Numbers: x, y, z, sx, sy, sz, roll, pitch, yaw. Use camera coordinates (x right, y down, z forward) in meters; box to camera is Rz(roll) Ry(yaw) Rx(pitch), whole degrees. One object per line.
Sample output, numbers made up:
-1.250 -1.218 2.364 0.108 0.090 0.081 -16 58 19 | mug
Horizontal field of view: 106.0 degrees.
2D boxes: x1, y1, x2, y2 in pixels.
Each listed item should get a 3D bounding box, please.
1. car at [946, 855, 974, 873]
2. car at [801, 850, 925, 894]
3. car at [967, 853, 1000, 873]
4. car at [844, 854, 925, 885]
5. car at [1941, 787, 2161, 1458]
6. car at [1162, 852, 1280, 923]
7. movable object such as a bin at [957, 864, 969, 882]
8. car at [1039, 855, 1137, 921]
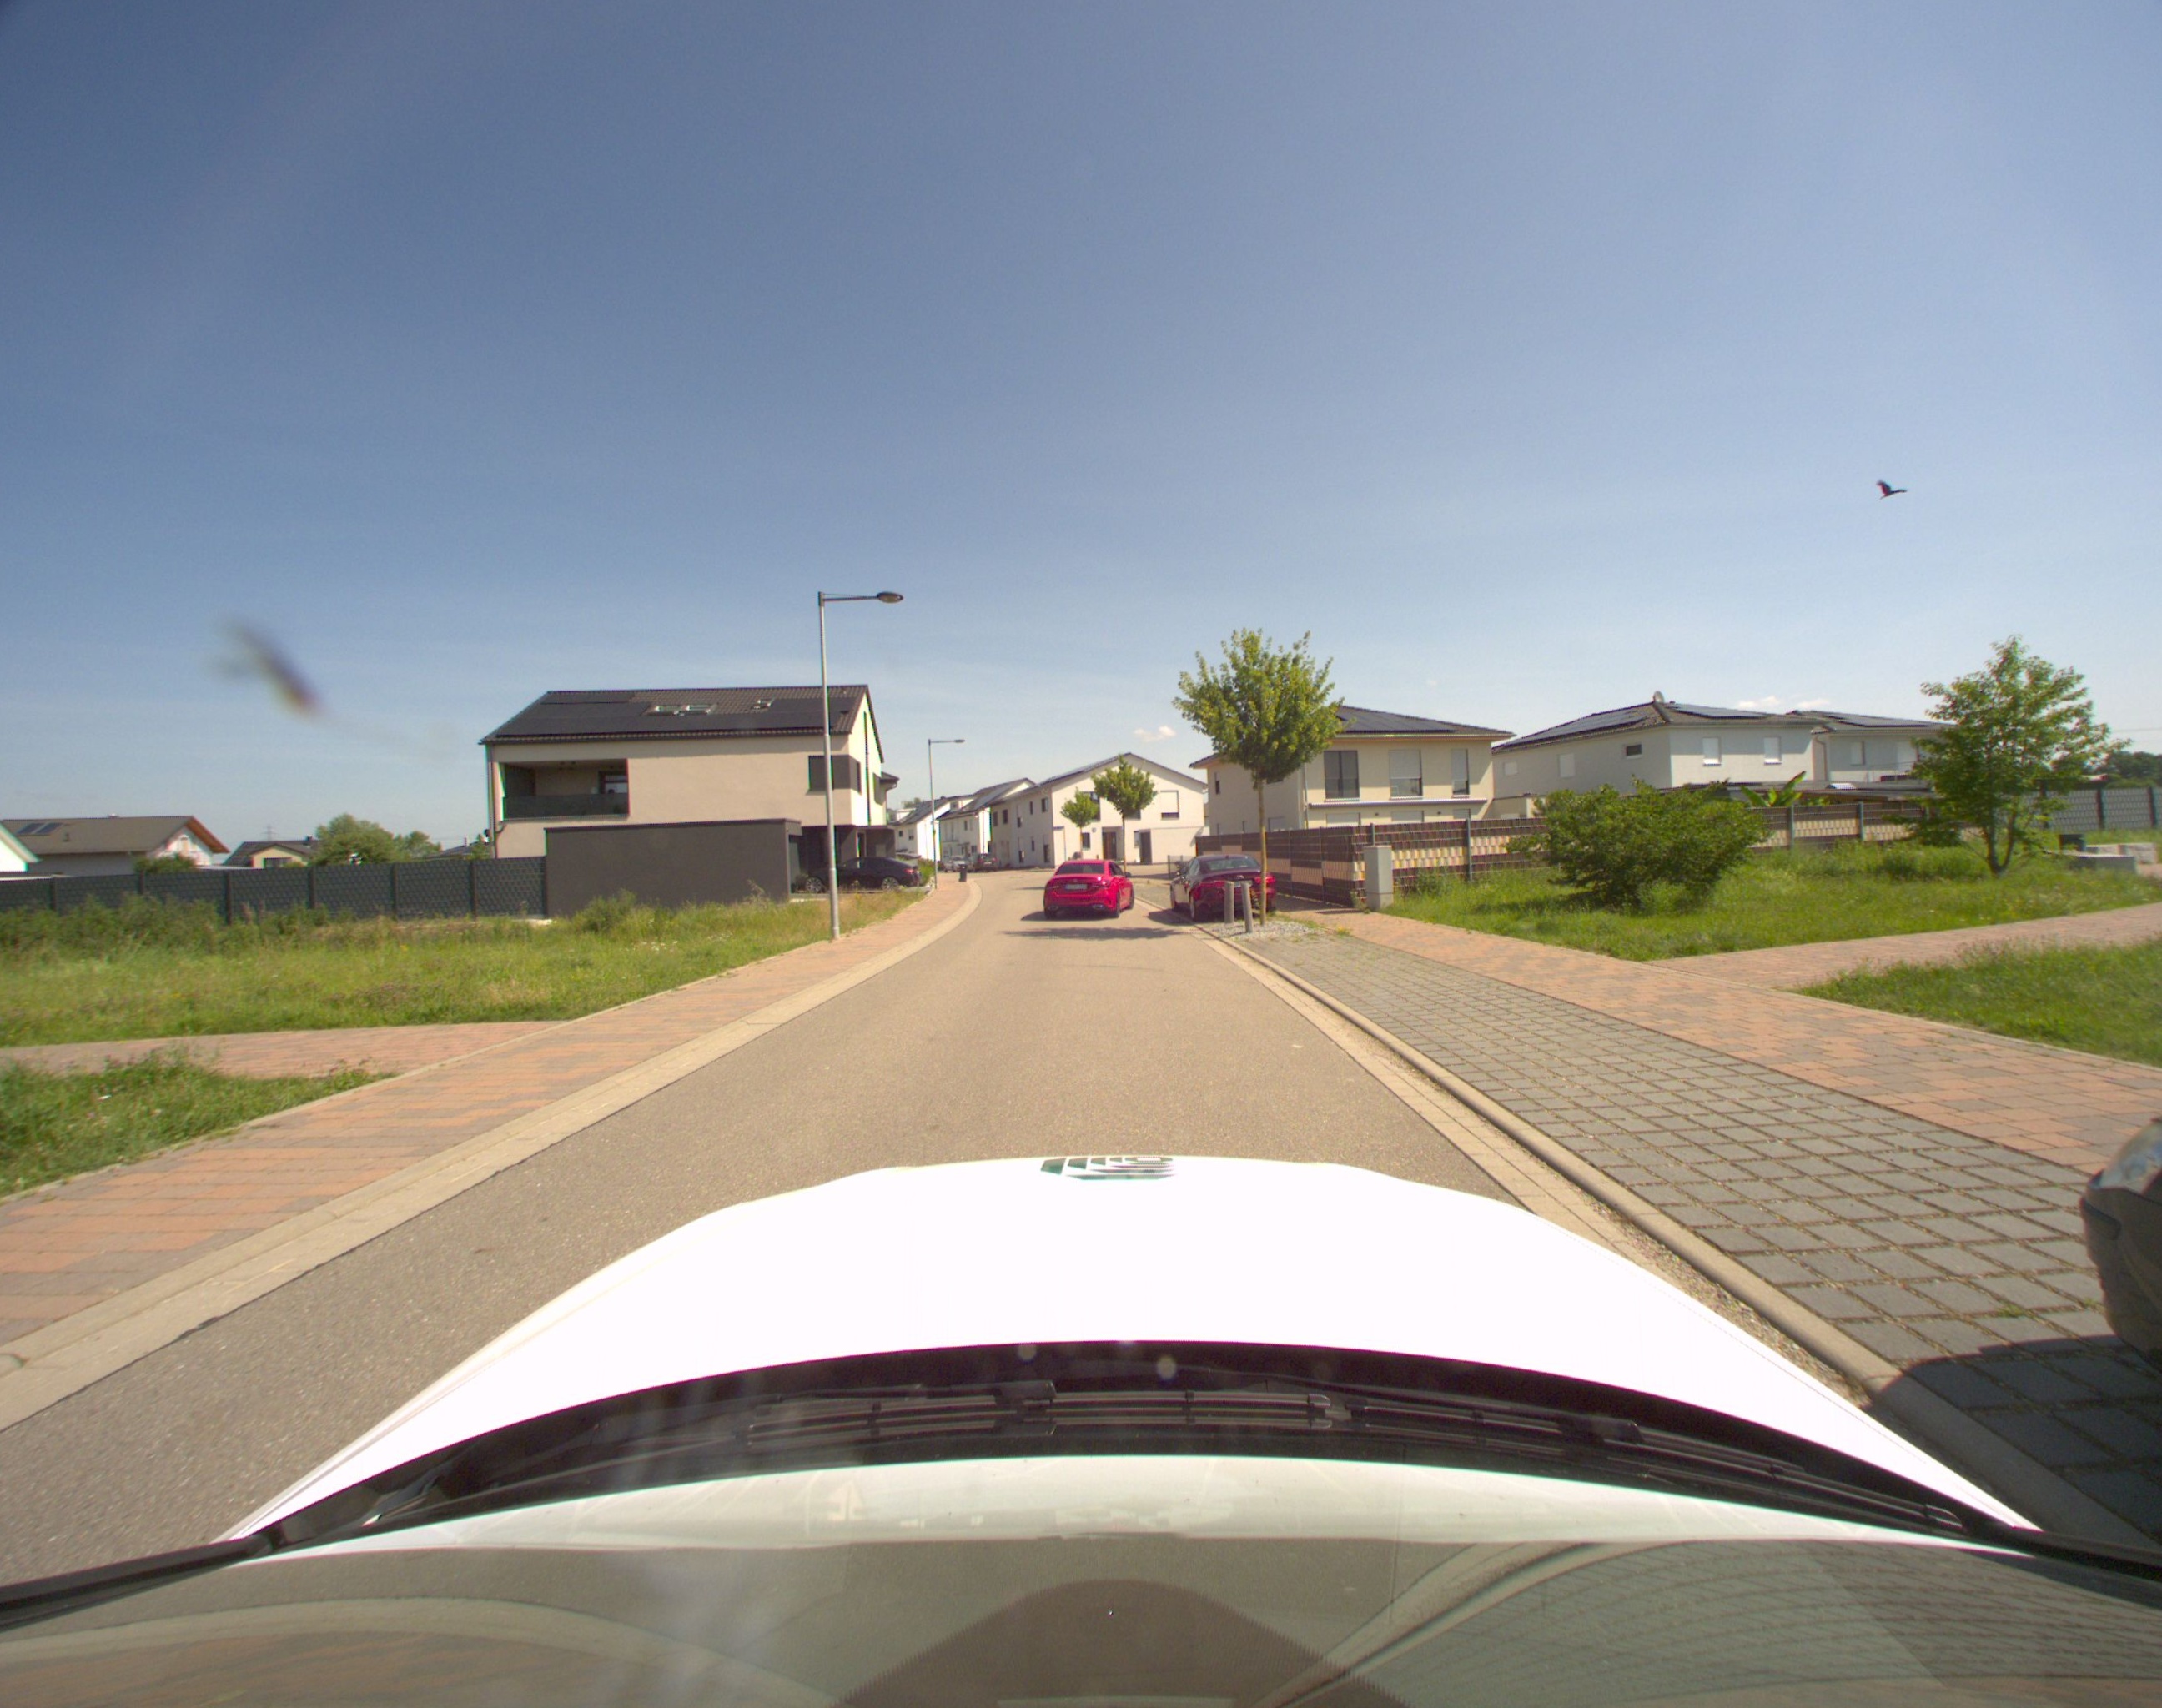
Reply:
-10.576 0.886 71.057 1.683 1.464 3.918 -3 0 -20 | car
-8.357 0.664 31.493 4.370 1.631 1.767 0 0 -6 | car
-7.418 0.670 61.643 1.731 1.422 3.977 -3 0 -17 | car
-10.669 0.818 44.378 3.979 1.486 1.752 -2 0 -4 | car
3.116 0.582 0.386 1.592 1.475 3.676 -1 0 1 | car
3.147 0.689 19.278 1.750 1.363 4.571 -4 0 -2 | car
-6.066 0.971 41.878 0.532 0.936 0.526 -1 0 3 | movable object such as a bin
0.312 0.795 21.110 1.751 1.438 4.532 -1 0 10 | car
